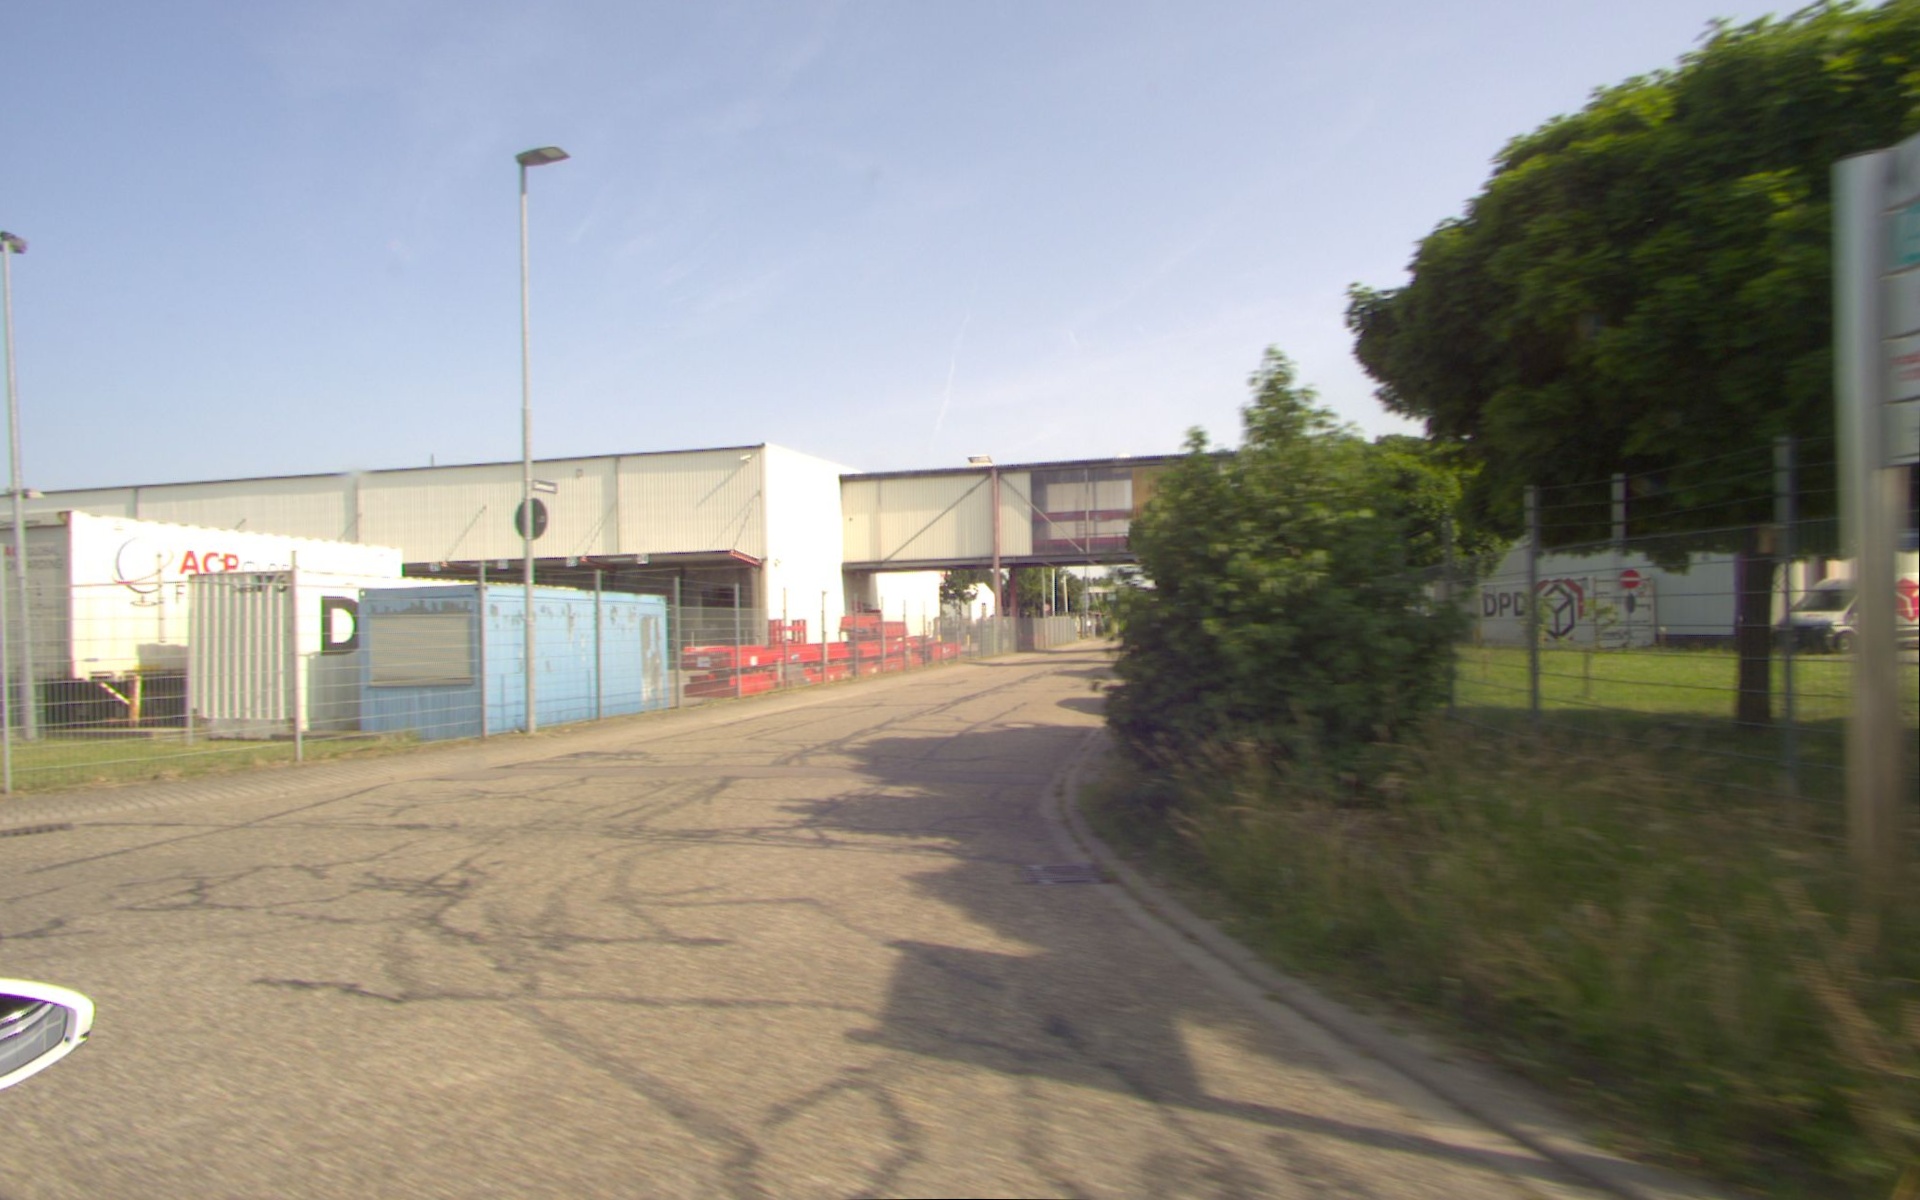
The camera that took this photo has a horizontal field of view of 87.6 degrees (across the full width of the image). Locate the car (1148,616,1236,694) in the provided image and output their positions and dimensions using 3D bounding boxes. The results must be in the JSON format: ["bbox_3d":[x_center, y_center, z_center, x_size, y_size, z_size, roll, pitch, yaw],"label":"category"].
[{"bbox_3d":[5.405,1.224,23.003,1.697,1.536,4.489,-4,-3,15],"label":"car"}]

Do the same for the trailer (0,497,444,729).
[{"bbox_3d":[-15.533,0.415,21.691,2.725,3.942,8.560,-3,-3,13],"label":"trailer"}]

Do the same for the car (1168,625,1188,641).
[{"bbox_3d":[21.317,3.252,98.034,1.696,1.543,3.781,-1,-2,15],"label":"car"}]

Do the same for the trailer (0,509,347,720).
[{"bbox_3d":[-18.443,0.362,22.529,2.724,3.944,8.558,-1,-1,13],"label":"trailer"}]

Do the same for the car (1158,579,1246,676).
[{"bbox_3d":[7.447,0.868,30.433,2.168,2.514,6.843,-4,-3,15],"label":"car"}]

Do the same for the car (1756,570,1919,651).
[{"bbox_3d":[31.176,0.341,34.164,6.572,2.550,2.175,-1,-1,-6],"label":"car"}]

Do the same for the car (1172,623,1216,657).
[{"bbox_3d":[10.198,1.720,43.540,1.696,1.404,3.781,-1,-2,15],"label":"car"}]

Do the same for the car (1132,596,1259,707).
[{"bbox_3d":[4.186,0.900,17.865,1.843,1.645,4.267,-4,-3,13],"label":"car"}]

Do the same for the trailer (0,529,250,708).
[{"bbox_3d":[-21.371,0.495,23.026,2.738,3.807,8.760,-1,-3,11],"label":"trailer"}]

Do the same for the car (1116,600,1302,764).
[{"bbox_3d":[2.934,0.889,11.797,1.697,1.542,3.958,-4,-3,15],"label":"car"}]
